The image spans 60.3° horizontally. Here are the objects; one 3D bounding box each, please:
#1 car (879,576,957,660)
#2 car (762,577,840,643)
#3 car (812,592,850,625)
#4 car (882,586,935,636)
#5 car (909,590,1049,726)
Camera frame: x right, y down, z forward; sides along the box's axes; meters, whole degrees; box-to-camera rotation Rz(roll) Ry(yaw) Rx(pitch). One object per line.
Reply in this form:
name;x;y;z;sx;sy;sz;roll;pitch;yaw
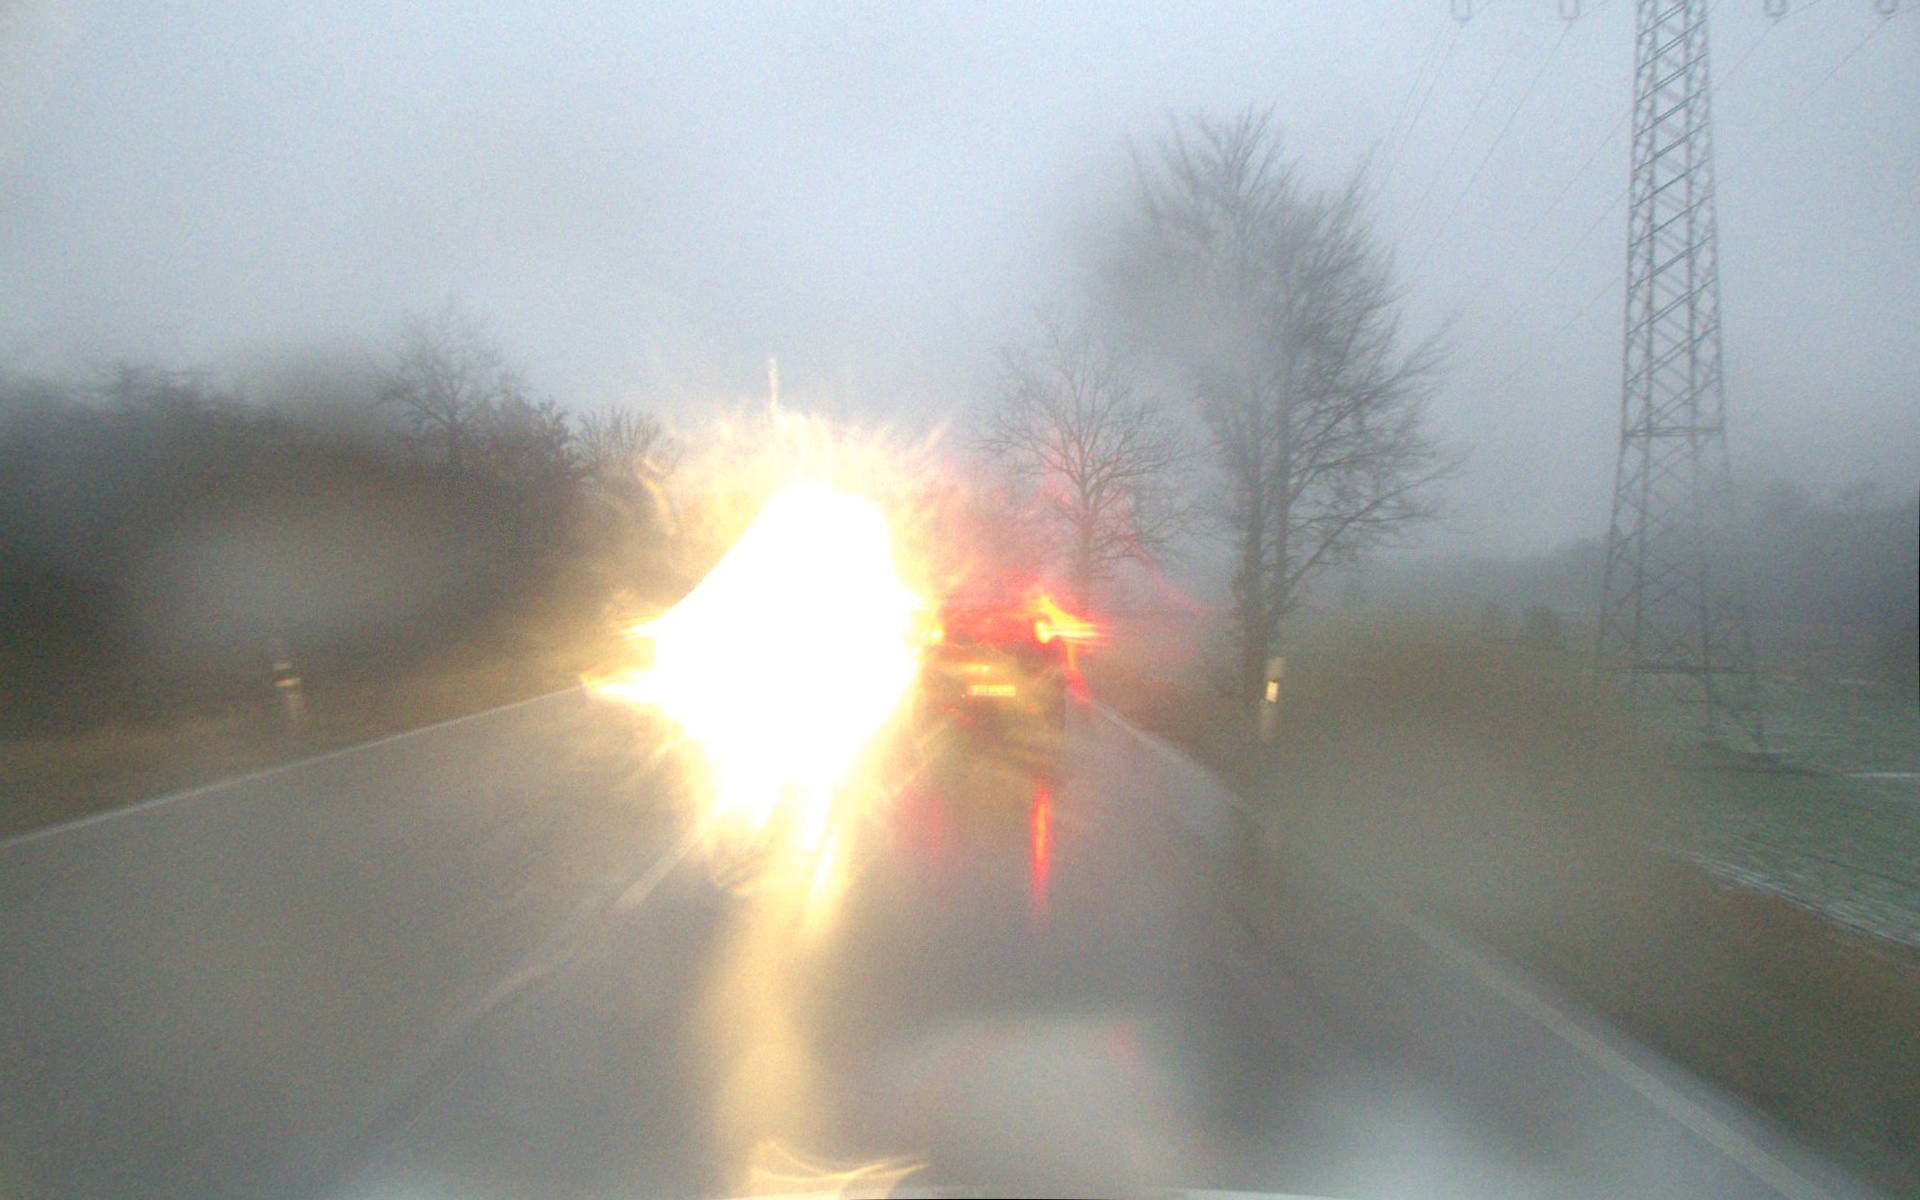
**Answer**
car;-1.034;0.437;42.753;1.814;2.049;4.000;1;0;1
car;-4.400;0.238;46.260;1.825;1.729;4.467;1;1;-1
car;-6.194;0.402;79.861;1.622;1.512;3.668;1;0;-2
car;-1.868;0.384;60.636;1.825;1.729;4.467;1;1;-1
car;0.224;0.615;19.211;1.469;1.423;3.200;1;0;1
